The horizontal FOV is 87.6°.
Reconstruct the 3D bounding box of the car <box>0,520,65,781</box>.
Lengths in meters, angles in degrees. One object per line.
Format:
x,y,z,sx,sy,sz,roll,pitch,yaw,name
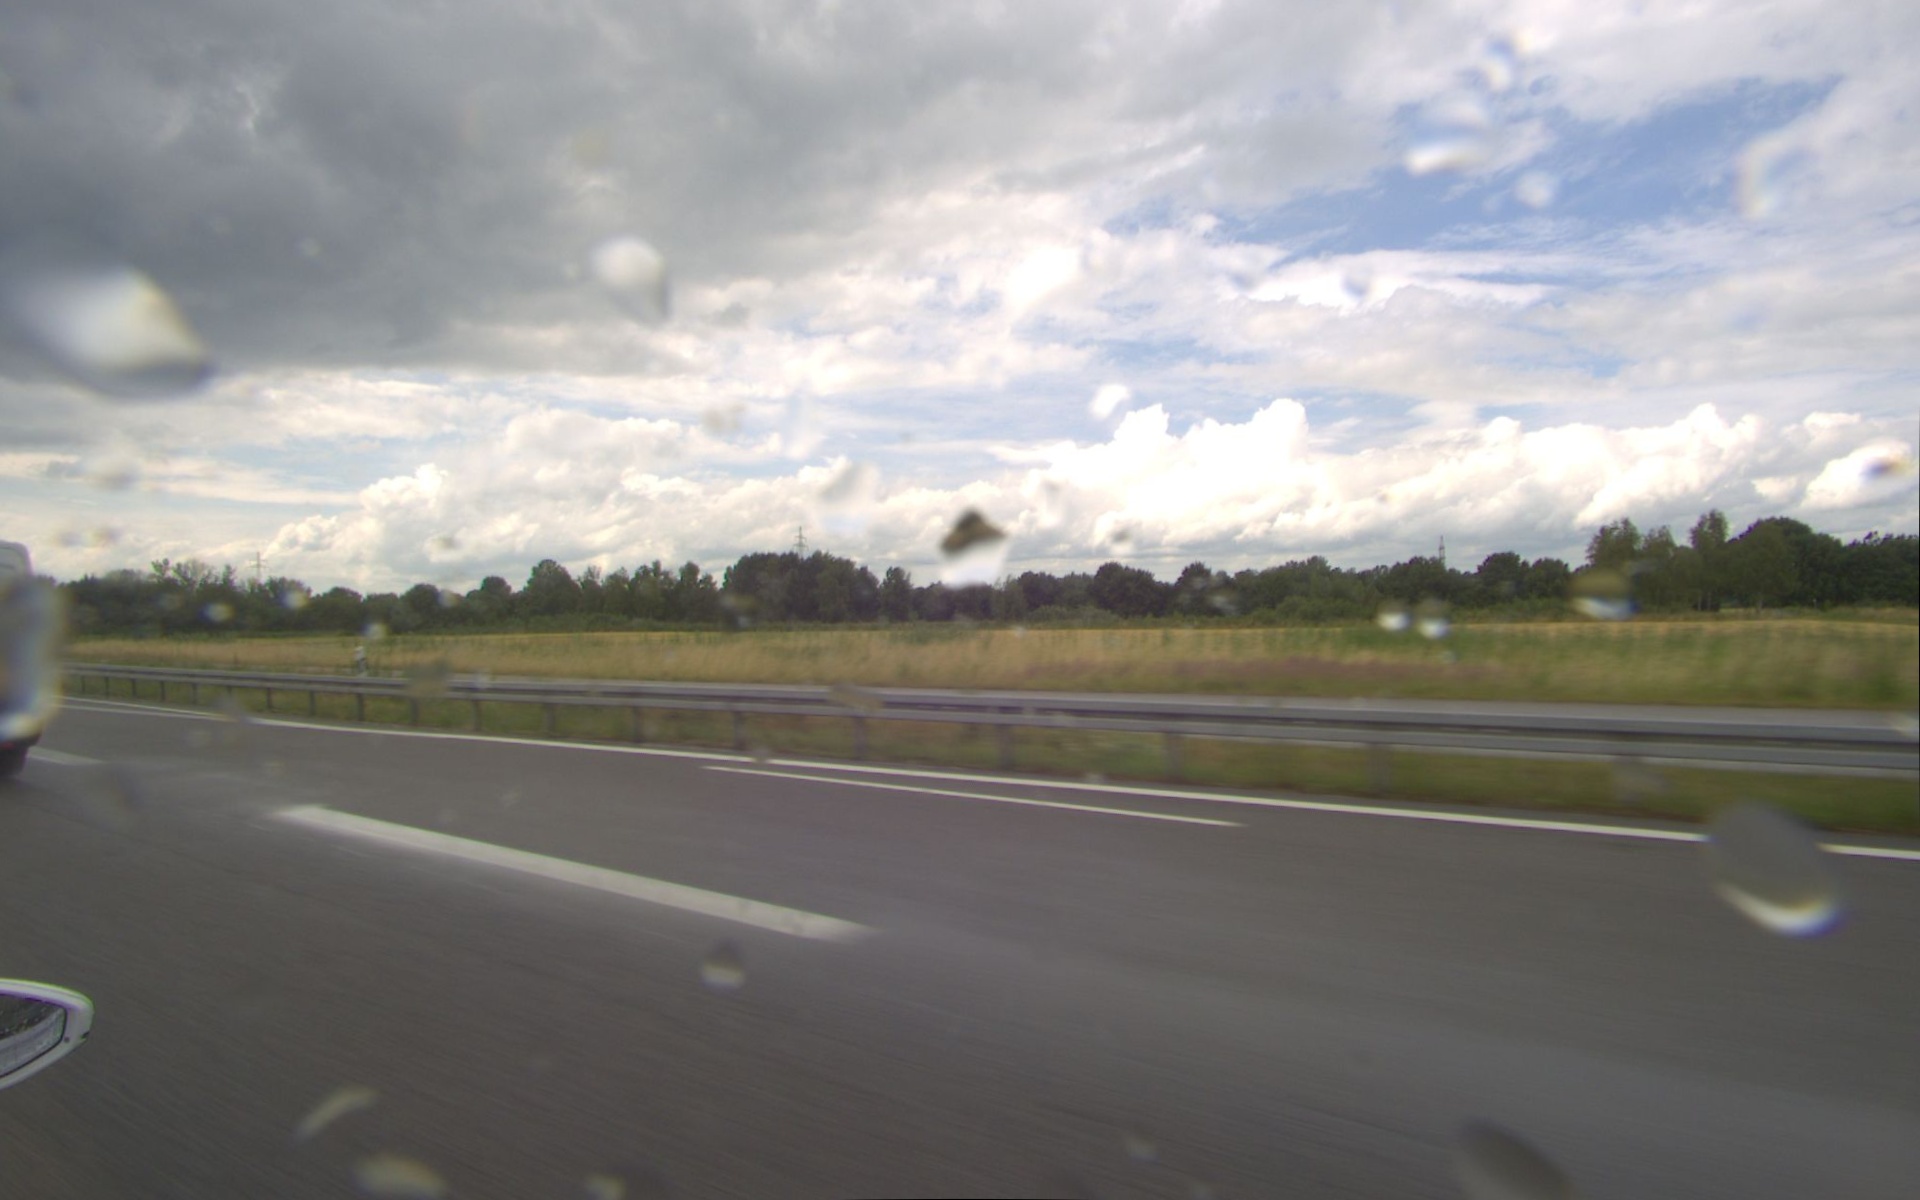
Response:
-11.854,0.534,10.814,5.376,2.532,2.134,-1,-2,36,car
